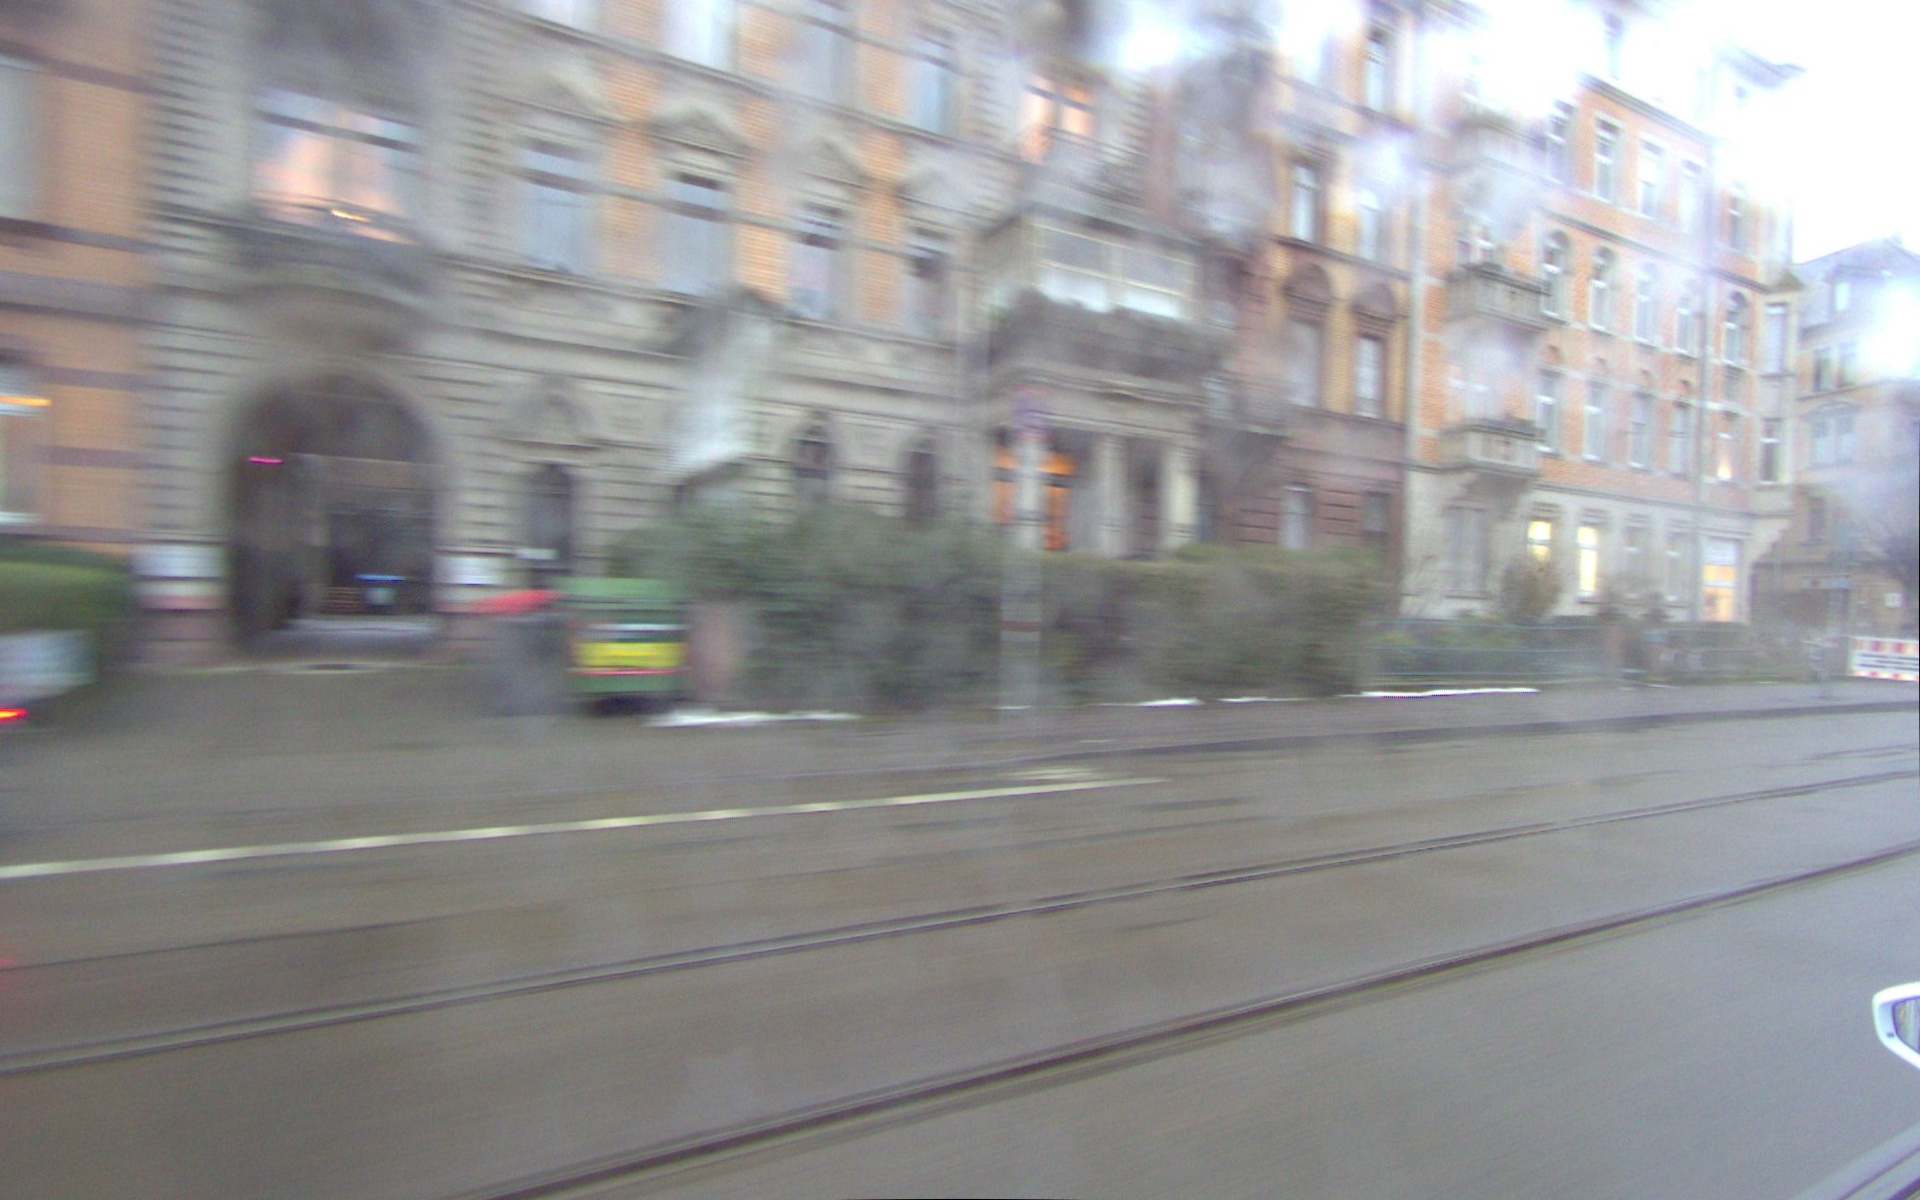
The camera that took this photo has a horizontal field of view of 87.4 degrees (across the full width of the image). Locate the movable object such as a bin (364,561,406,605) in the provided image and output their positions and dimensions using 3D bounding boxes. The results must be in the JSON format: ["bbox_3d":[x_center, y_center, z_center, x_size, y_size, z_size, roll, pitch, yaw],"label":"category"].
[{"bbox_3d":[-20.965,-0.634,36.654,1.268,1.547,1.496,1,1,-30],"label":"movable object such as a bin"}]

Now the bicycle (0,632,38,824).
[{"bbox_3d":[-5.958,0.656,4.978,1.909,0.985,0.675,2,0,-29],"label":"bicycle"}]

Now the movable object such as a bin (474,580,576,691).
[{"bbox_3d":[-5.153,0.395,11.878,0.935,1.223,1.178,1,1,-31],"label":"movable object such as a bin"}]

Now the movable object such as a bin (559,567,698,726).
[{"bbox_3d":[-3.635,0.472,10.956,1.290,1.607,1.240,2,1,-24],"label":"movable object such as a bin"}]

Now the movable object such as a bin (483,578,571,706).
[{"bbox_3d":[-4.702,0.435,10.887,0.738,1.309,0.890,1,1,-32],"label":"movable object such as a bin"}]

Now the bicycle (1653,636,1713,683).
[{"bbox_3d":[15.056,1.233,20.900,1.665,0.928,0.262,1,6,-30],"label":"bicycle"}]

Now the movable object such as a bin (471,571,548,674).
[{"bbox_3d":[-5.801,0.277,12.911,0.765,1.260,1.004,1,1,-31],"label":"movable object such as a bin"}]
